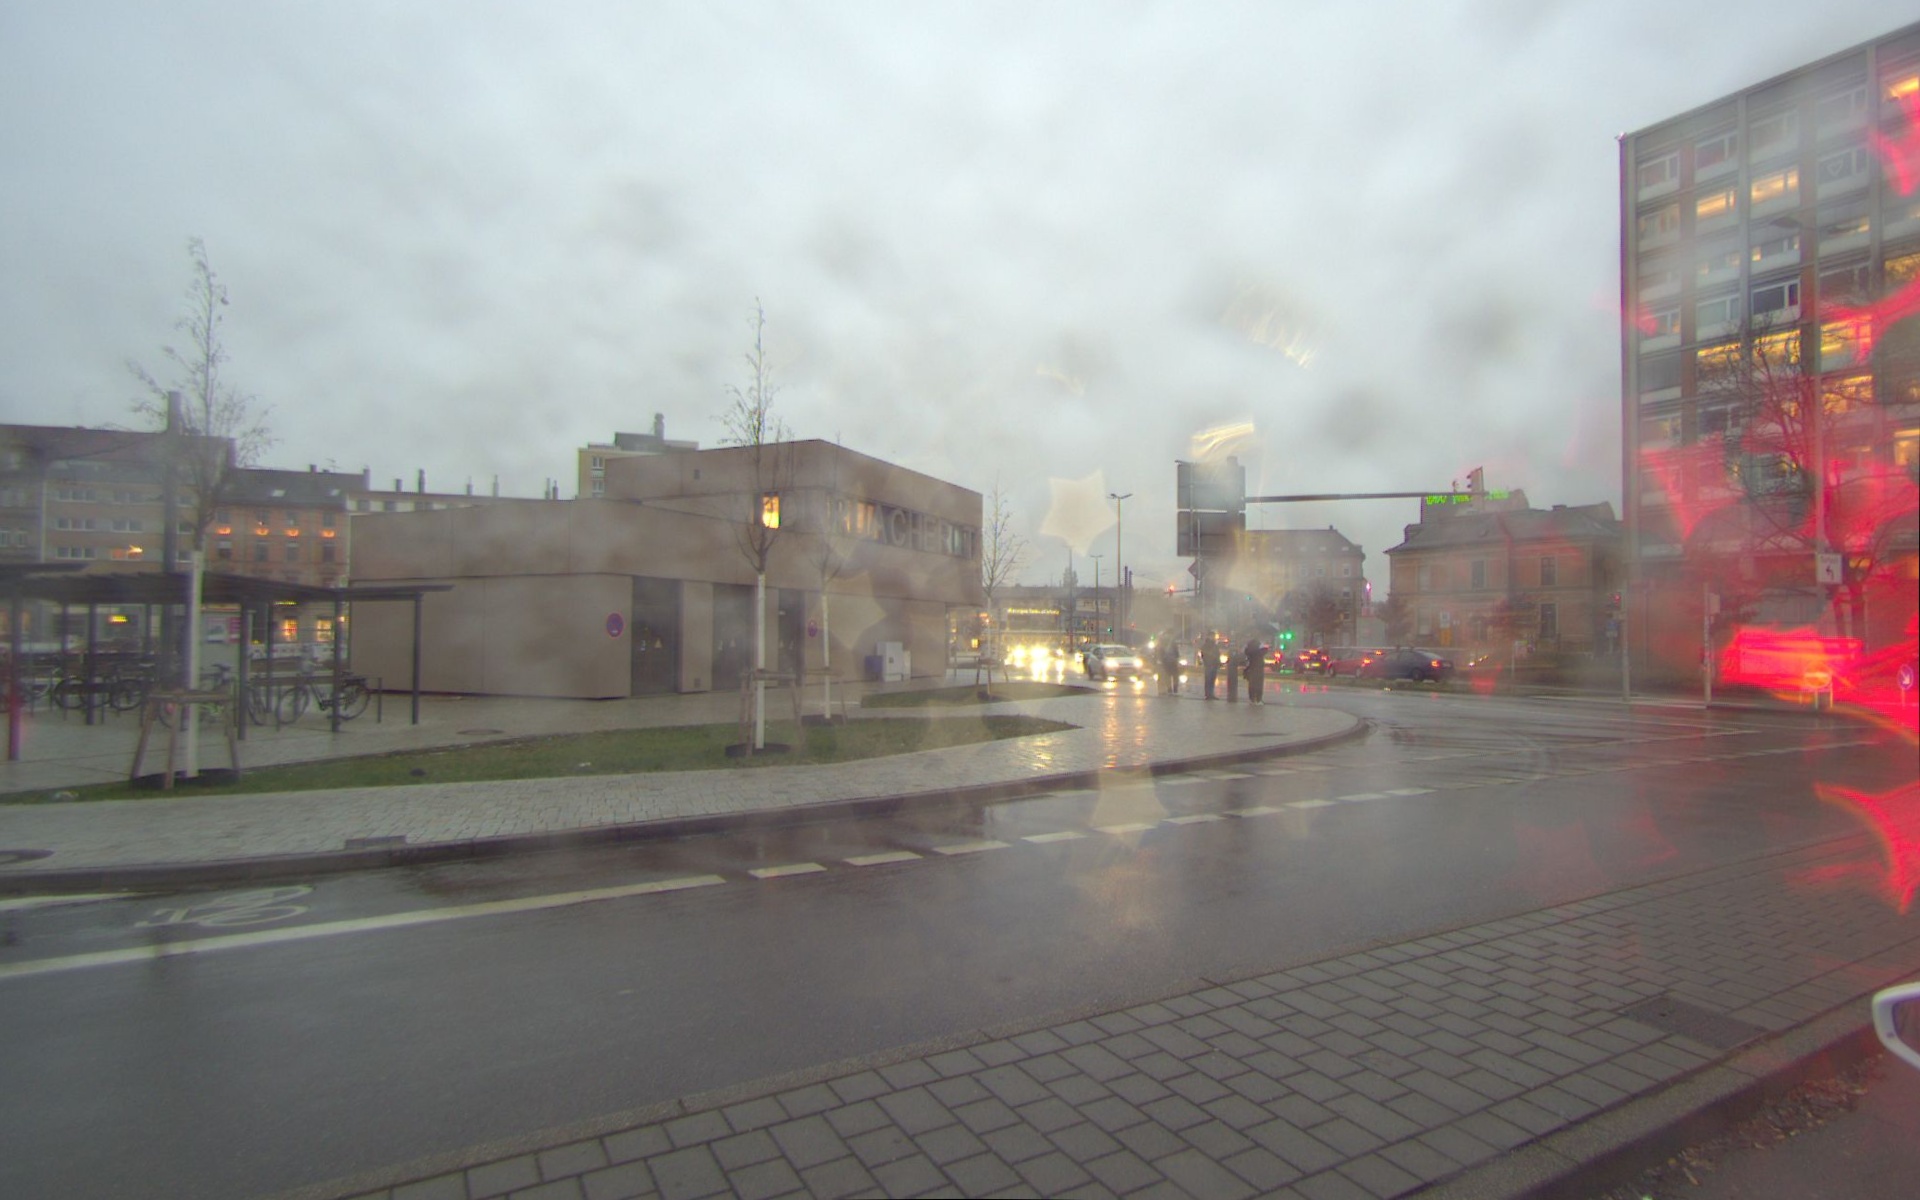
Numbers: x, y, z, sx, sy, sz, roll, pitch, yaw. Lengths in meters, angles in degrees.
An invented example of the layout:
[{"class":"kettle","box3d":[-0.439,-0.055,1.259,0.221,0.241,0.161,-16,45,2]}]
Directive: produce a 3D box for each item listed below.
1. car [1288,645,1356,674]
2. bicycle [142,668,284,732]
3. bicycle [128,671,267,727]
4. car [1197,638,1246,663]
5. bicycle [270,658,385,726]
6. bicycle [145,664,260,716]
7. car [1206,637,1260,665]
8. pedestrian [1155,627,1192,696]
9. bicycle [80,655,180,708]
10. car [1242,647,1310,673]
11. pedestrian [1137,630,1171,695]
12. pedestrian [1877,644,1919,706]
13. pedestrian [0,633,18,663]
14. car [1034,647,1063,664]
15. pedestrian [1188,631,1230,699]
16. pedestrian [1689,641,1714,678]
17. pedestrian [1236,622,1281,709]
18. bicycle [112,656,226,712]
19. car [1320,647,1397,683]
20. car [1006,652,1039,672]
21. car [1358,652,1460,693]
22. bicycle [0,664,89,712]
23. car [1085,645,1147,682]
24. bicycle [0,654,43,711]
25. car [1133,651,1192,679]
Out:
[{"class":"car","box3d":[20.911,3.416,58.071,3.364,1.481,1.515,2,0,-1]},{"class":"bicycle","box3d":[-12.929,1.707,17.455,0.466,0.989,1.923,1,-2,29]},{"class":"bicycle","box3d":[-13.580,1.742,17.947,0.466,0.903,1.923,1,-2,29]},{"class":"car","box3d":[19.401,3.730,74.492,3.321,1.724,1.526,2,0,8]},{"class":"bicycle","box3d":[-11.744,1.680,18.715,0.605,1.172,1.755,1,-2,20]},{"class":"bicycle","box3d":[-15.174,1.783,20.170,0.466,0.968,1.767,1,-2,29]},{"class":"car","box3d":[19.630,3.663,72.347,3.514,1.850,1.672,2,0,8]},{"class":"pedestrian","box3d":[5.875,1.690,27.684,0.671,1.863,0.726,1,-3,-42]},{"class":"bicycle","box3d":[-17.680,1.715,21.429,0.511,1.050,1.573,1,-2,19]},{"class":"car","box3d":[20.098,3.814,63.972,3.741,1.502,1.602,2,0,-1]},{"class":"pedestrian","box3d":[5.447,1.747,28.212,0.544,1.793,0.734,2,-3,-43]},{"class":"pedestrian","box3d":[29.958,2.356,31.644,1.116,1.867,1.005,-2,-2,-1]},{"class":"pedestrian","box3d":[-64.922,3.288,68.534,0.695,2.040,0.586,0,-2,-21]},{"class":"car","box3d":[8.166,5.100,93.166,1.777,1.496,4.667,1,-3,-7]},{"class":"pedestrian","box3d":[6.595,1.711,26.622,0.838,1.778,0.659,0,-2,-14]},{"class":"pedestrian","box3d":[34.416,2.756,46.622,0.626,1.710,0.640,0,-2,-13]},{"class":"pedestrian","box3d":[7.238,1.583,24.367,0.971,2.047,0.802,-1,-2,19]},{"class":"bicycle","box3d":[-16.524,1.741,21.035,0.466,1.087,1.830,1,-2,26]},{"class":"car","box3d":[20.505,3.317,51.810,1.795,1.589,3.991,2,0,-11]},{"class":"car","box3d":[5.116,5.058,82.435,1.778,1.496,4.588,1,-3,-8]},{"class":"car","box3d":[20.679,3.295,46.443,1.807,1.589,3.964,2,0,-32]},{"class":"bicycle","box3d":[-18.502,1.737,19.986,0.466,0.903,1.693,1,-2,24]},{"class":"car","box3d":[6.702,2.707,43.558,1.712,1.467,3.710,0,-2,-7]},{"class":"bicycle","box3d":[-19.387,1.637,19.835,0.466,1.122,1.797,1,-2,29]},{"class":"car","box3d":[11.287,3.610,56.366,1.778,1.496,4.586,1,-3,-9]}]
